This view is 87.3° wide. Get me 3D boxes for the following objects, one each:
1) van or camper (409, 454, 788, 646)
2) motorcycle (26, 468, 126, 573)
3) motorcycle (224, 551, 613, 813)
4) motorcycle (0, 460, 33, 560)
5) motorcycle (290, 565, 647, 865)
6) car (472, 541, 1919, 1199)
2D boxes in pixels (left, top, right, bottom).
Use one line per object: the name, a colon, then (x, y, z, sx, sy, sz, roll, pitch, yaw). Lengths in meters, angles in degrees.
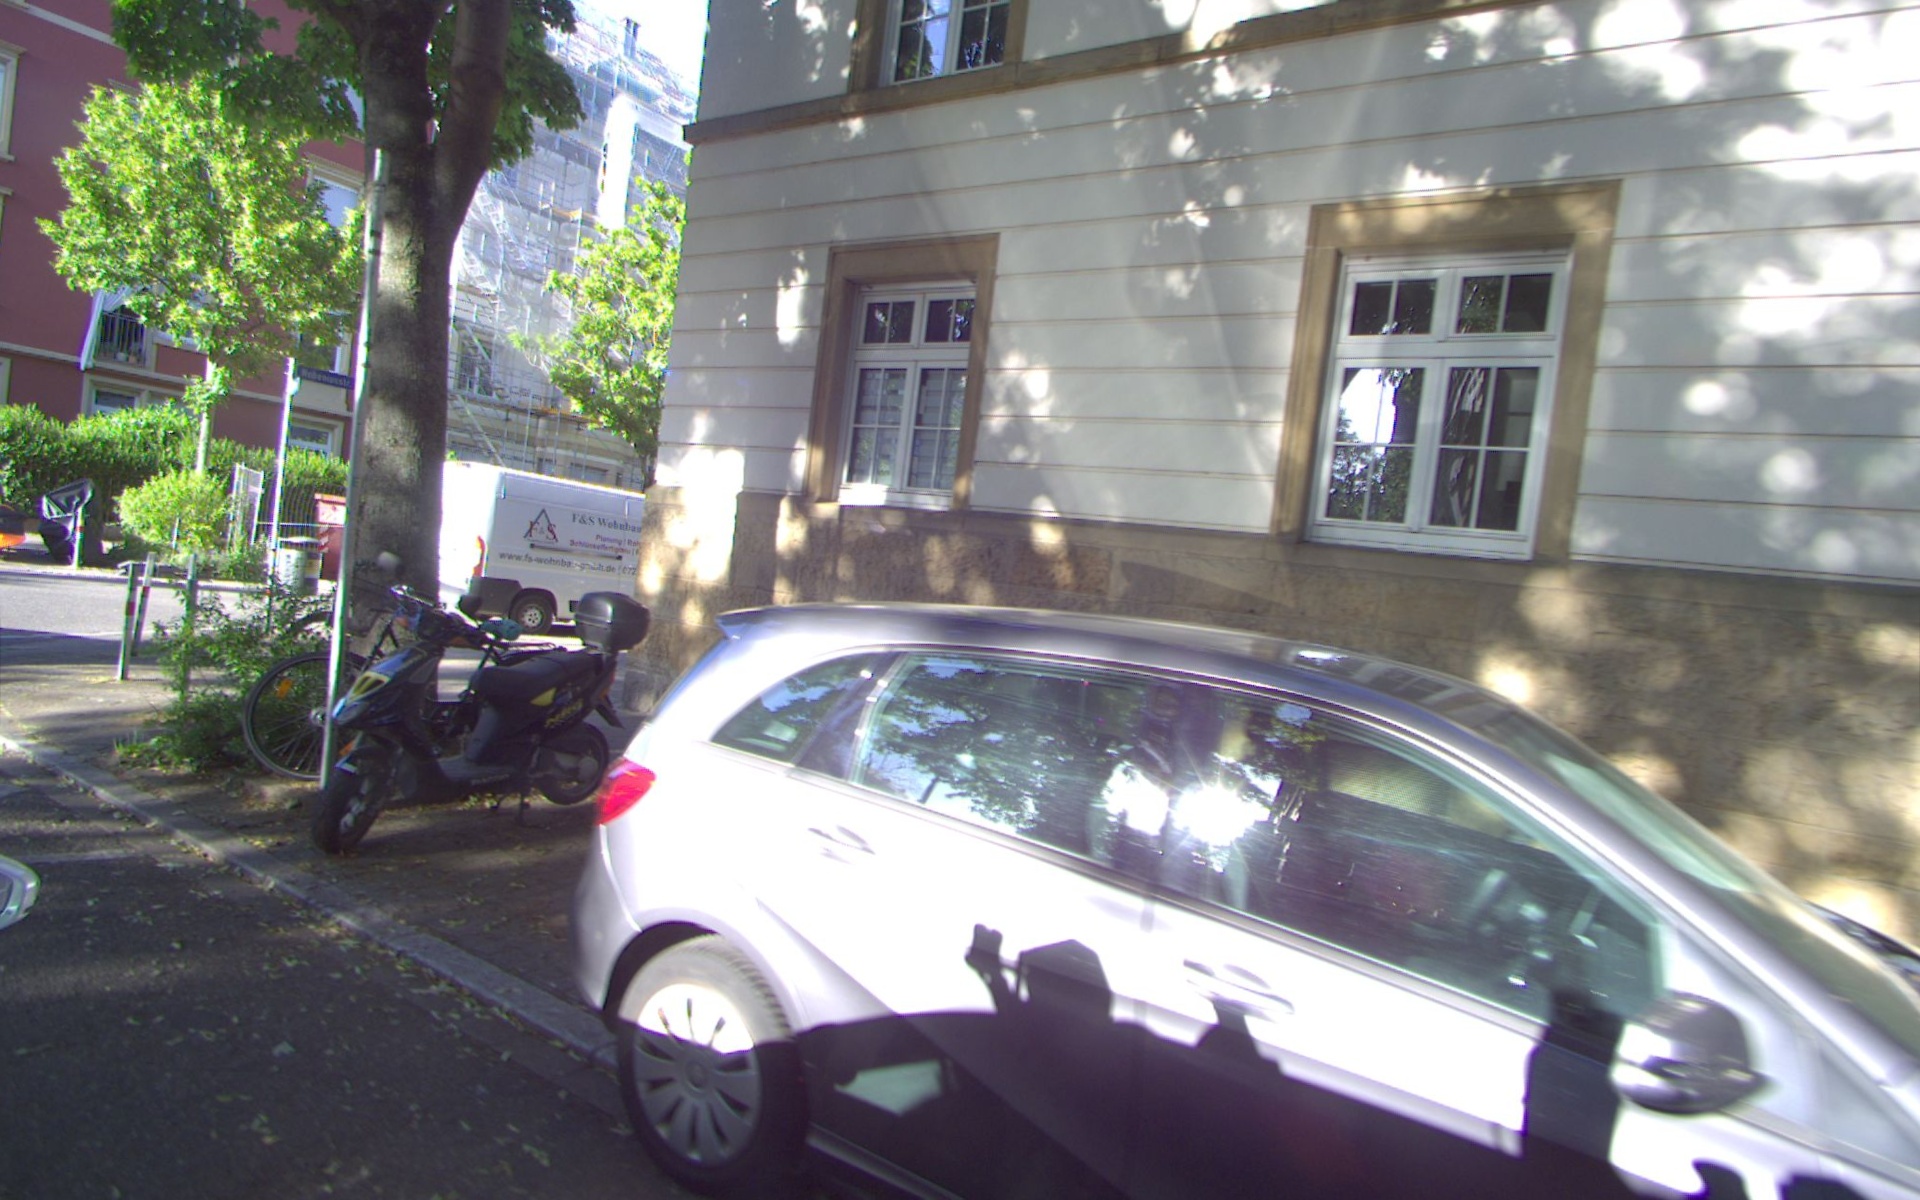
van or camper: (-5.937, -0.713, 17.228, 2.113, 2.477, 5.578, 11, 4, 41)
motorcycle: (-14.802, -1.353, 16.808, 2.518, 1.423, 0.825, 11, 4, 40)
motorcycle: (-3.058, 0.461, 5.834, 1.844, 1.283, 0.498, 4, 4, -44)
motorcycle: (-15.843, -1.535, 16.299, 2.162, 1.423, 1.017, 12, 5, 44)
motorcycle: (-2.485, 0.532, 5.248, 0.609, 1.283, 1.503, 8, 3, 31)
car: (1.012, 0.896, 2.528, 4.333, 1.572, 1.790, 8, 3, 29)
